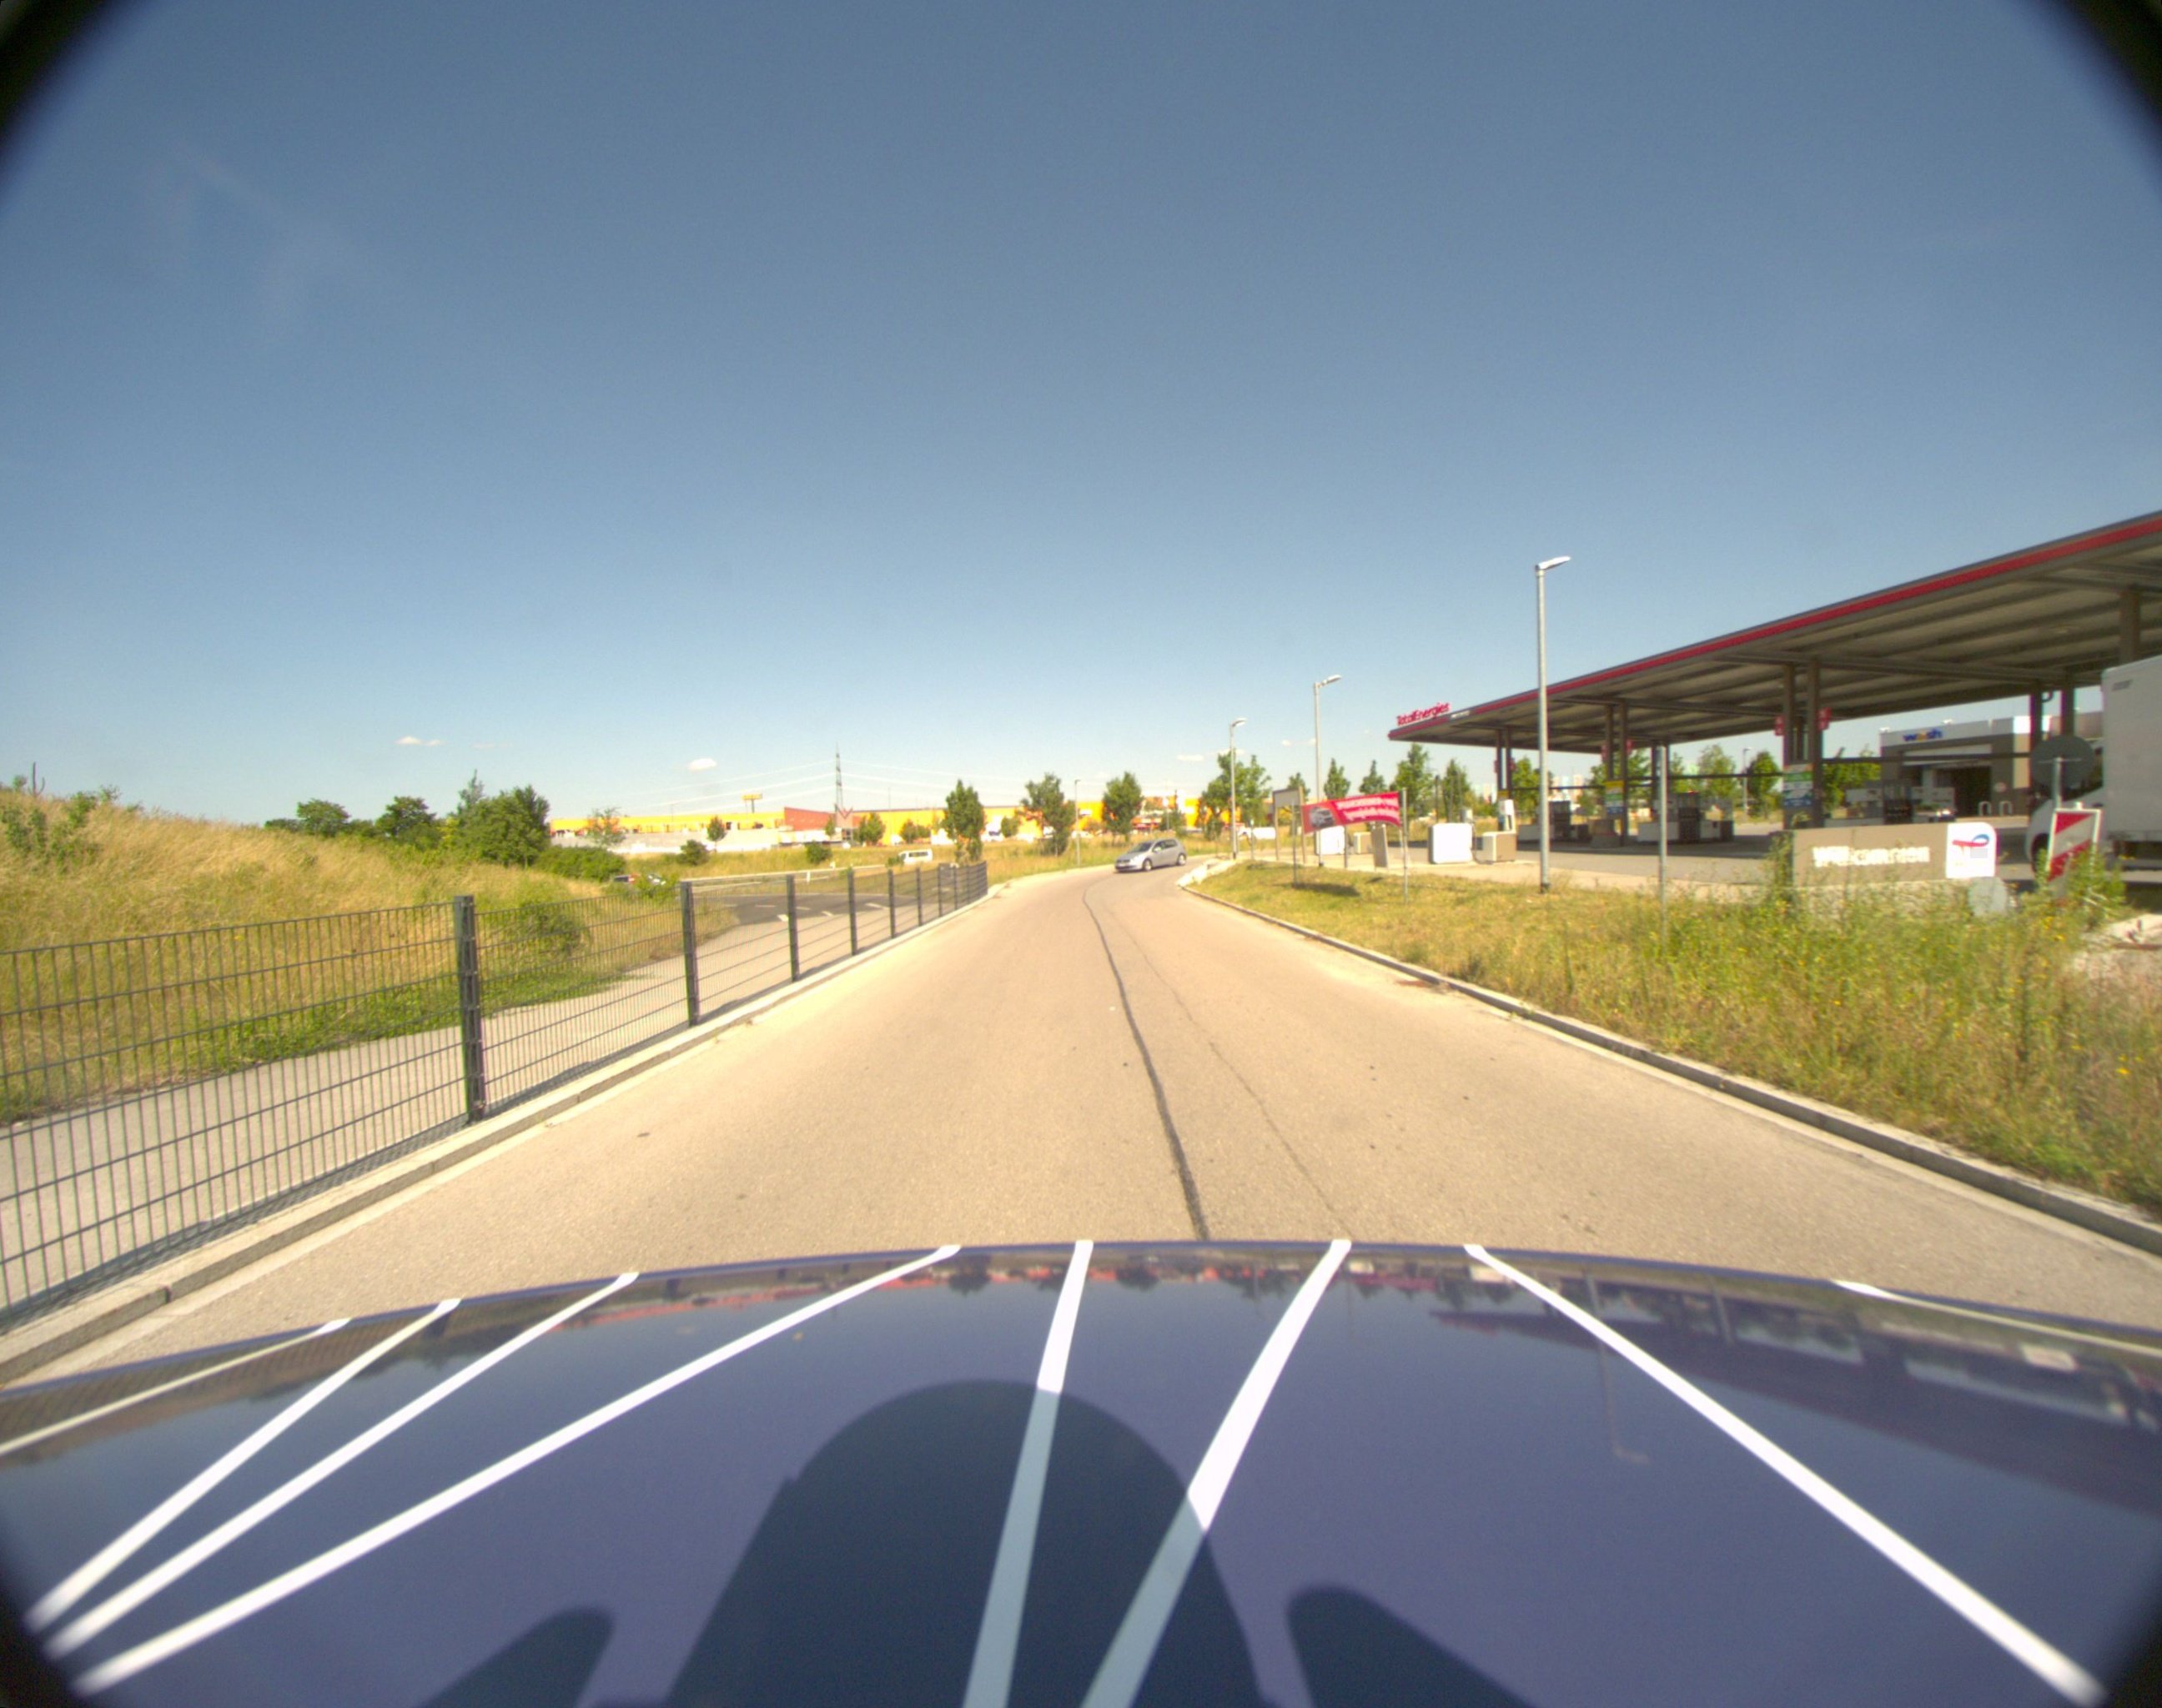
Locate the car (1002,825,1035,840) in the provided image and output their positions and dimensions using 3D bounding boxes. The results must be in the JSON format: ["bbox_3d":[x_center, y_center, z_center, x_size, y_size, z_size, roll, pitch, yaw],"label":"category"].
[{"bbox_3d":[-9.103,-3.111,110.547,4.635,2.002,1.999,-3,1,-6],"label":"car"}]

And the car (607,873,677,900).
[{"bbox_3d":[-37.910,2.769,65.761,4.762,2.002,1.997,-3,1,-17],"label":"car"}]

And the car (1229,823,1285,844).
[{"bbox_3d":[18.548,-2.126,80.126,5.254,2.002,1.998,-3,1,-7],"label":"car"}]

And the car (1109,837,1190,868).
[{"bbox_3d":[3.426,-0.106,37.647,3.968,1.459,1.742,0,1,-41],"label":"car"}]

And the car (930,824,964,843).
[{"bbox_3d":[-19.338,-3.012,109.996,4.635,2.534,1.999,-3,1,-6],"label":"car"}]

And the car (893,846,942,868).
[{"bbox_3d":[-16.653,0.251,77.684,4.635,2.002,1.999,-3,1,-5],"label":"car"}]

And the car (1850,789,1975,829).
[{"bbox_3d":[37.903,-2.026,34.705,3.934,1.565,1.795,-3,1,-4],"label":"car"}]

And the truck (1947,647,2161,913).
[{"bbox_3d":[14.635,-0.957,8.855,2.637,3.299,6.912,-2,1,16],"label":"truck"}]
